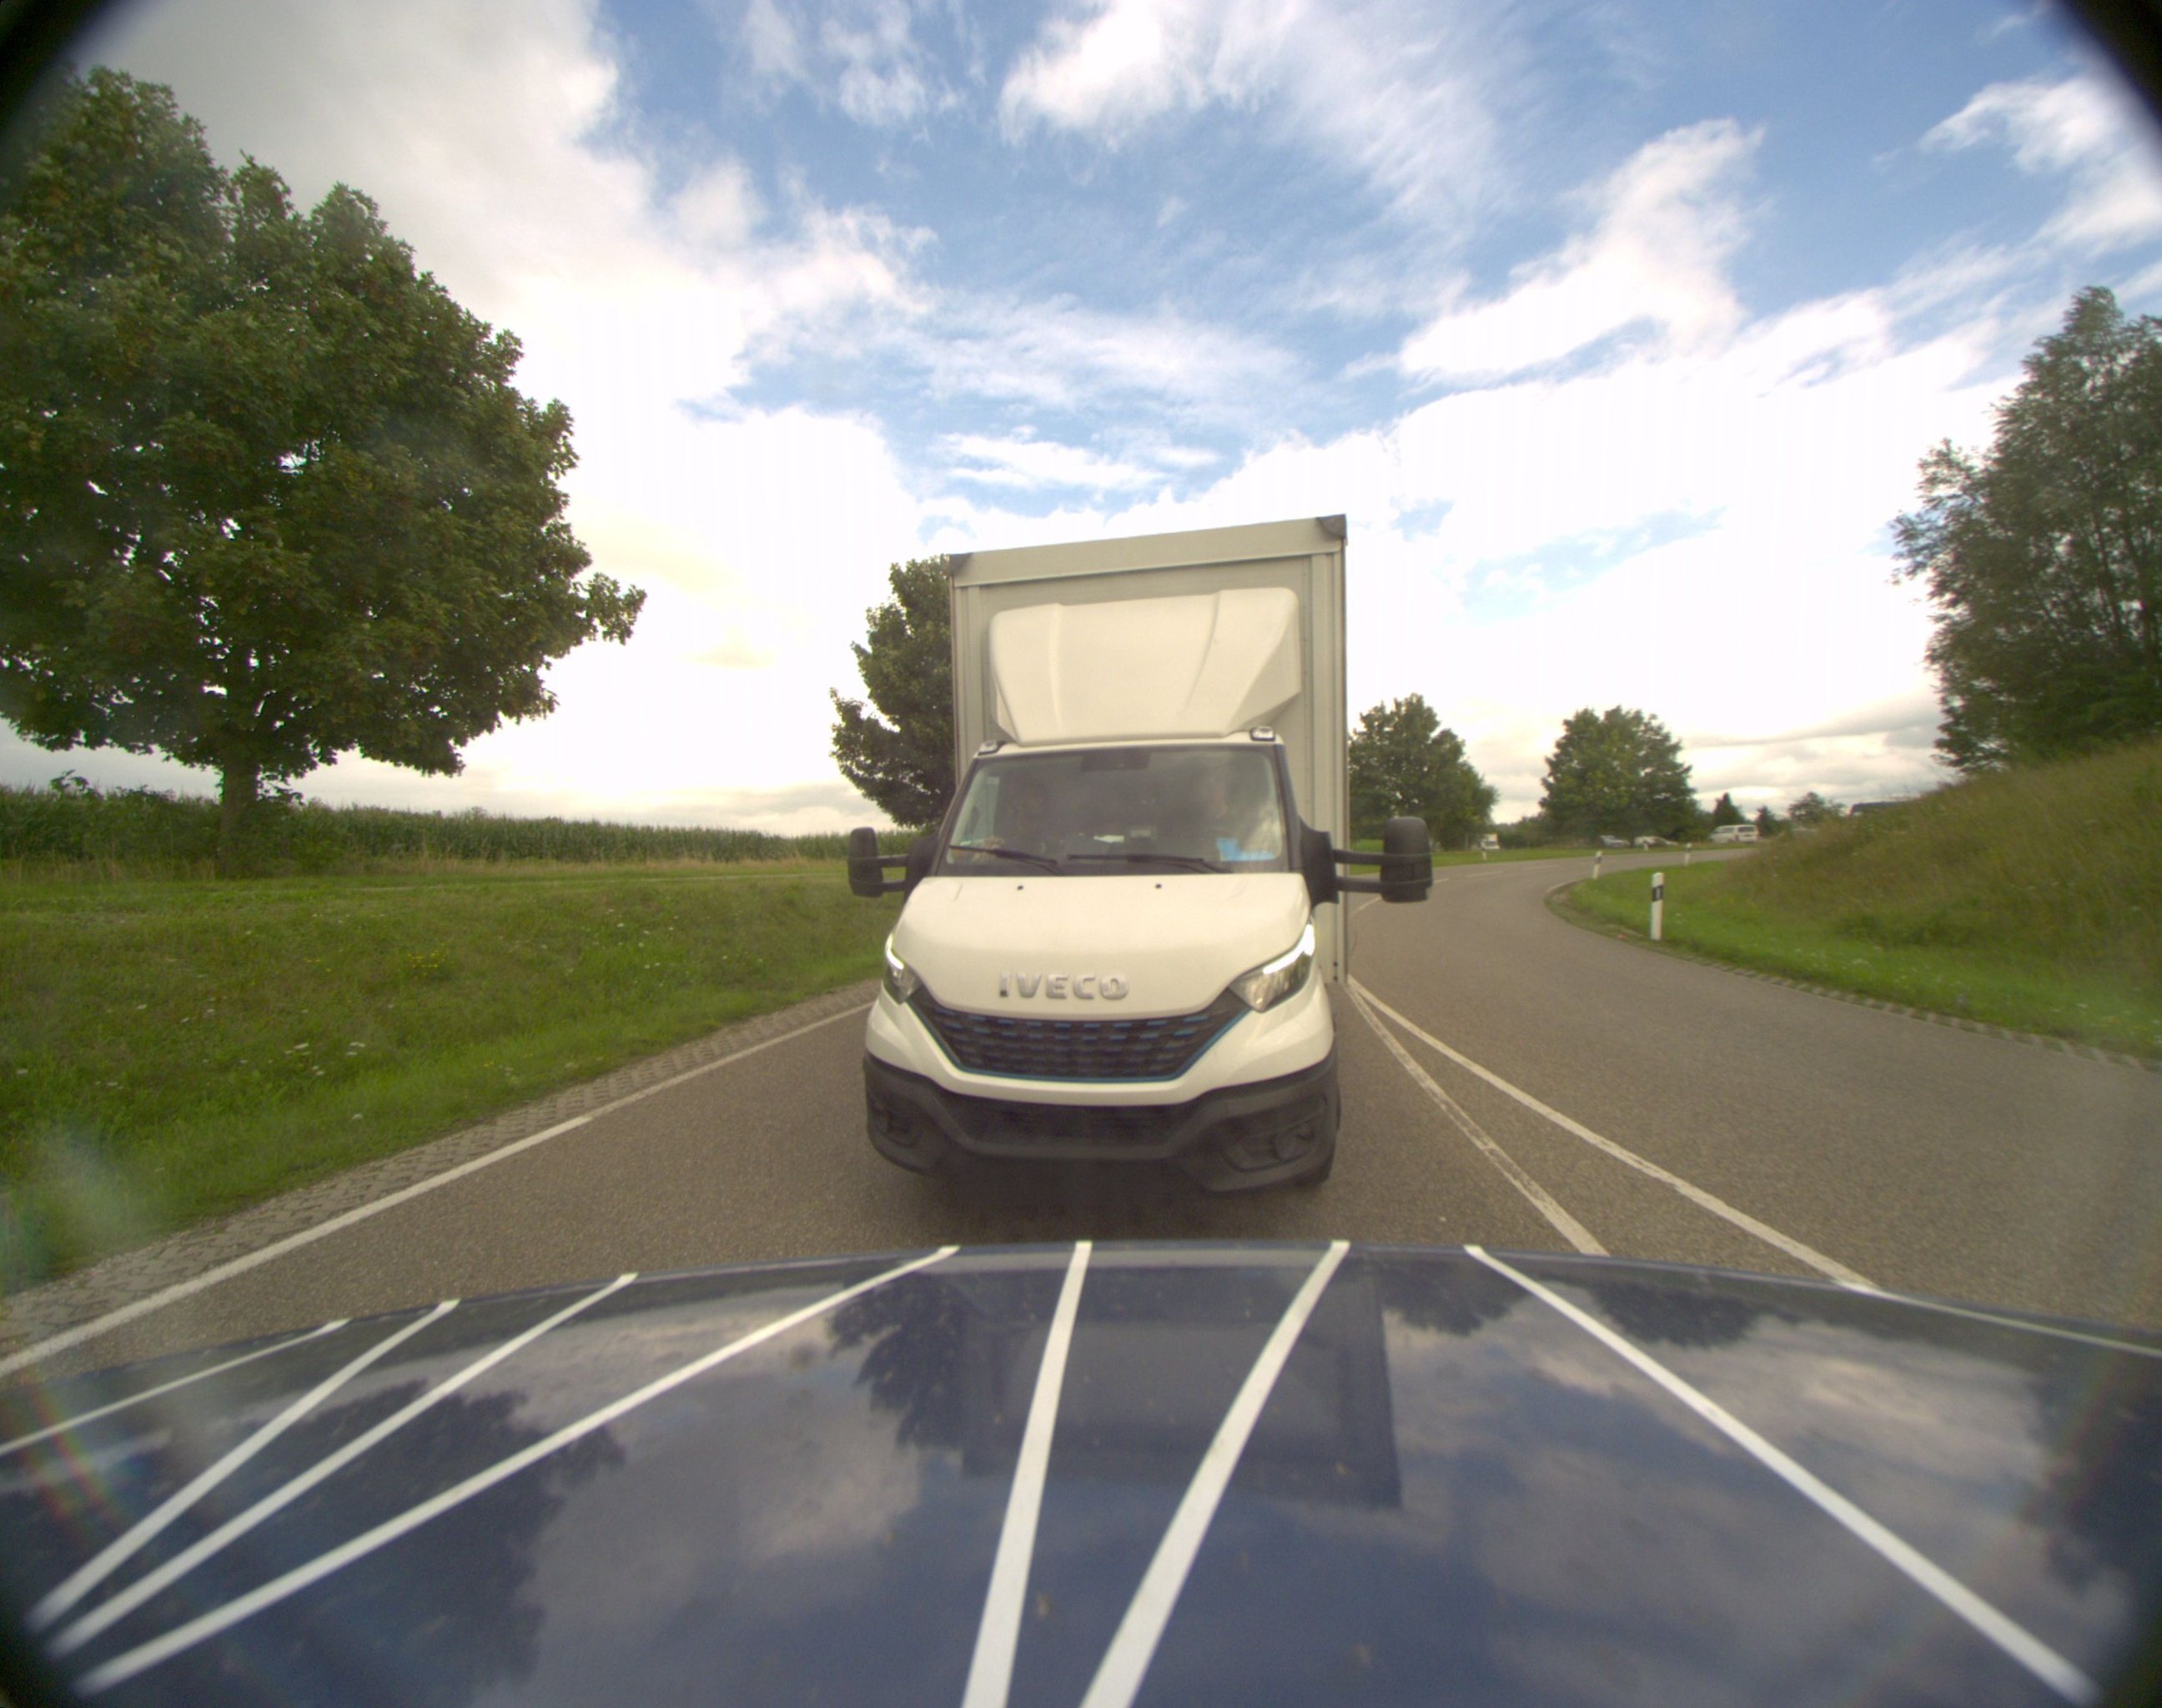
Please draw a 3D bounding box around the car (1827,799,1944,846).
[{"bbox_3d":[46.222,-1.816,43.708,5.121,2.615,1.998,0,1,-8],"label":"car"}]

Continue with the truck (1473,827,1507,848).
[{"bbox_3d":[50.474,-2.032,93.910,2.288,2.407,6.389,-2,0,15],"label":"truck"}]

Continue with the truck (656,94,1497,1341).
[{"bbox_3d":[0.702,-0.383,6.871,2.834,3.741,8.807,-1,0,11],"label":"truck"}]

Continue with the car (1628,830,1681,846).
[{"bbox_3d":[64.650,-1.834,85.725,4.393,1.576,2.003,-2,0,27],"label":"car"}]

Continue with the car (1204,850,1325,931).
[{"bbox_3d":[3.978,0.687,16.016,1.747,1.457,4.006,-2,0,24],"label":"car"}]
